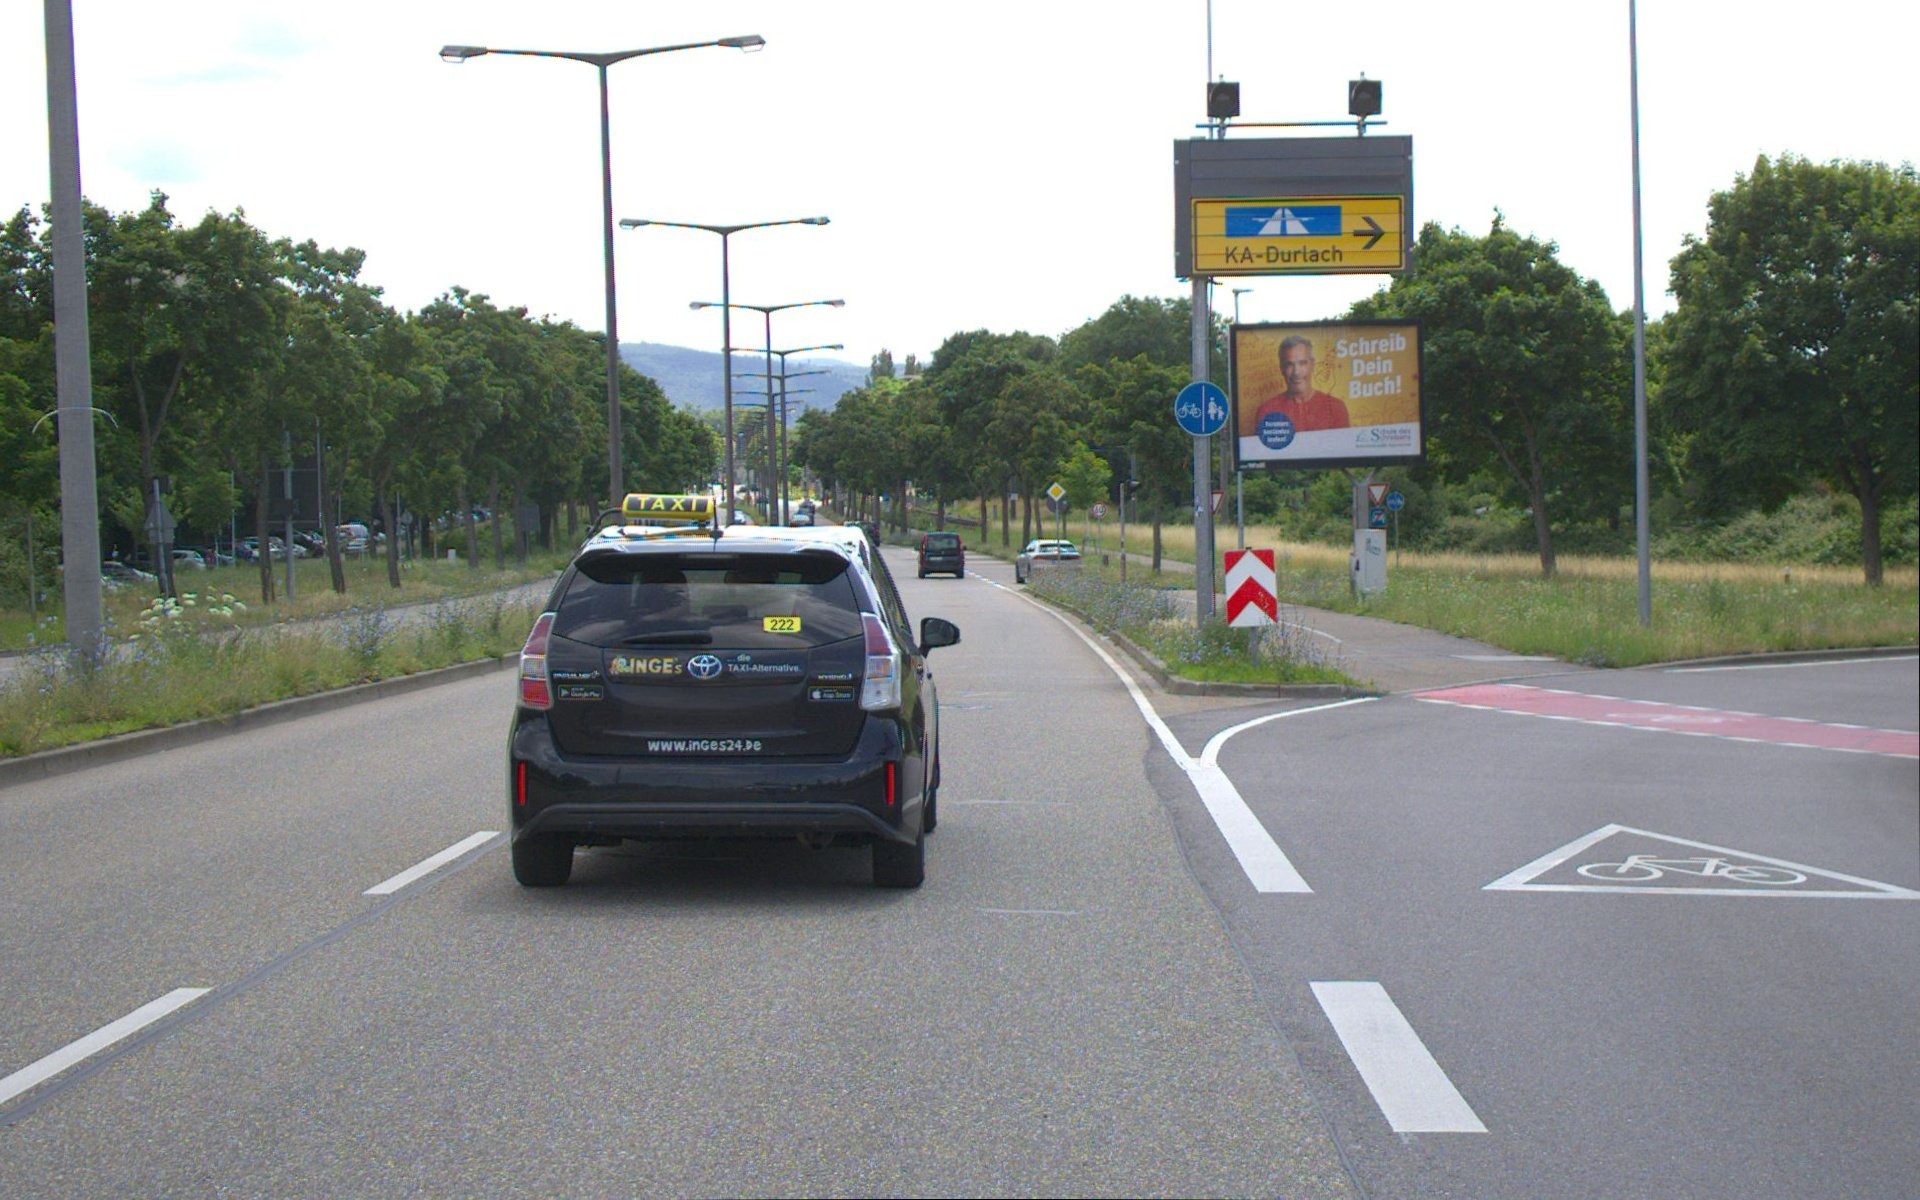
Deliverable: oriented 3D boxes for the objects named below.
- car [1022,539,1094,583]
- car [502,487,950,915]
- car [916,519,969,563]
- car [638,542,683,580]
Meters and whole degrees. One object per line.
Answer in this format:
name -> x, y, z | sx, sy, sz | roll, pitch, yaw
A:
car -> 3.605, -1.454, 127.351 | 1.993, 1.503, 4.001 | 0, 2, -8
car -> -1.024, 0.343, 15.720 | 1.779, 1.678, 4.001 | 0, 2, -3
car -> -0.720, -2.365, 137.488 | 1.993, 1.656, 4.001 | 0, 2, -2
car -> -14.711, -1.924, 169.189 | 1.876, 1.784, 4.729 | -3, 1, -2
